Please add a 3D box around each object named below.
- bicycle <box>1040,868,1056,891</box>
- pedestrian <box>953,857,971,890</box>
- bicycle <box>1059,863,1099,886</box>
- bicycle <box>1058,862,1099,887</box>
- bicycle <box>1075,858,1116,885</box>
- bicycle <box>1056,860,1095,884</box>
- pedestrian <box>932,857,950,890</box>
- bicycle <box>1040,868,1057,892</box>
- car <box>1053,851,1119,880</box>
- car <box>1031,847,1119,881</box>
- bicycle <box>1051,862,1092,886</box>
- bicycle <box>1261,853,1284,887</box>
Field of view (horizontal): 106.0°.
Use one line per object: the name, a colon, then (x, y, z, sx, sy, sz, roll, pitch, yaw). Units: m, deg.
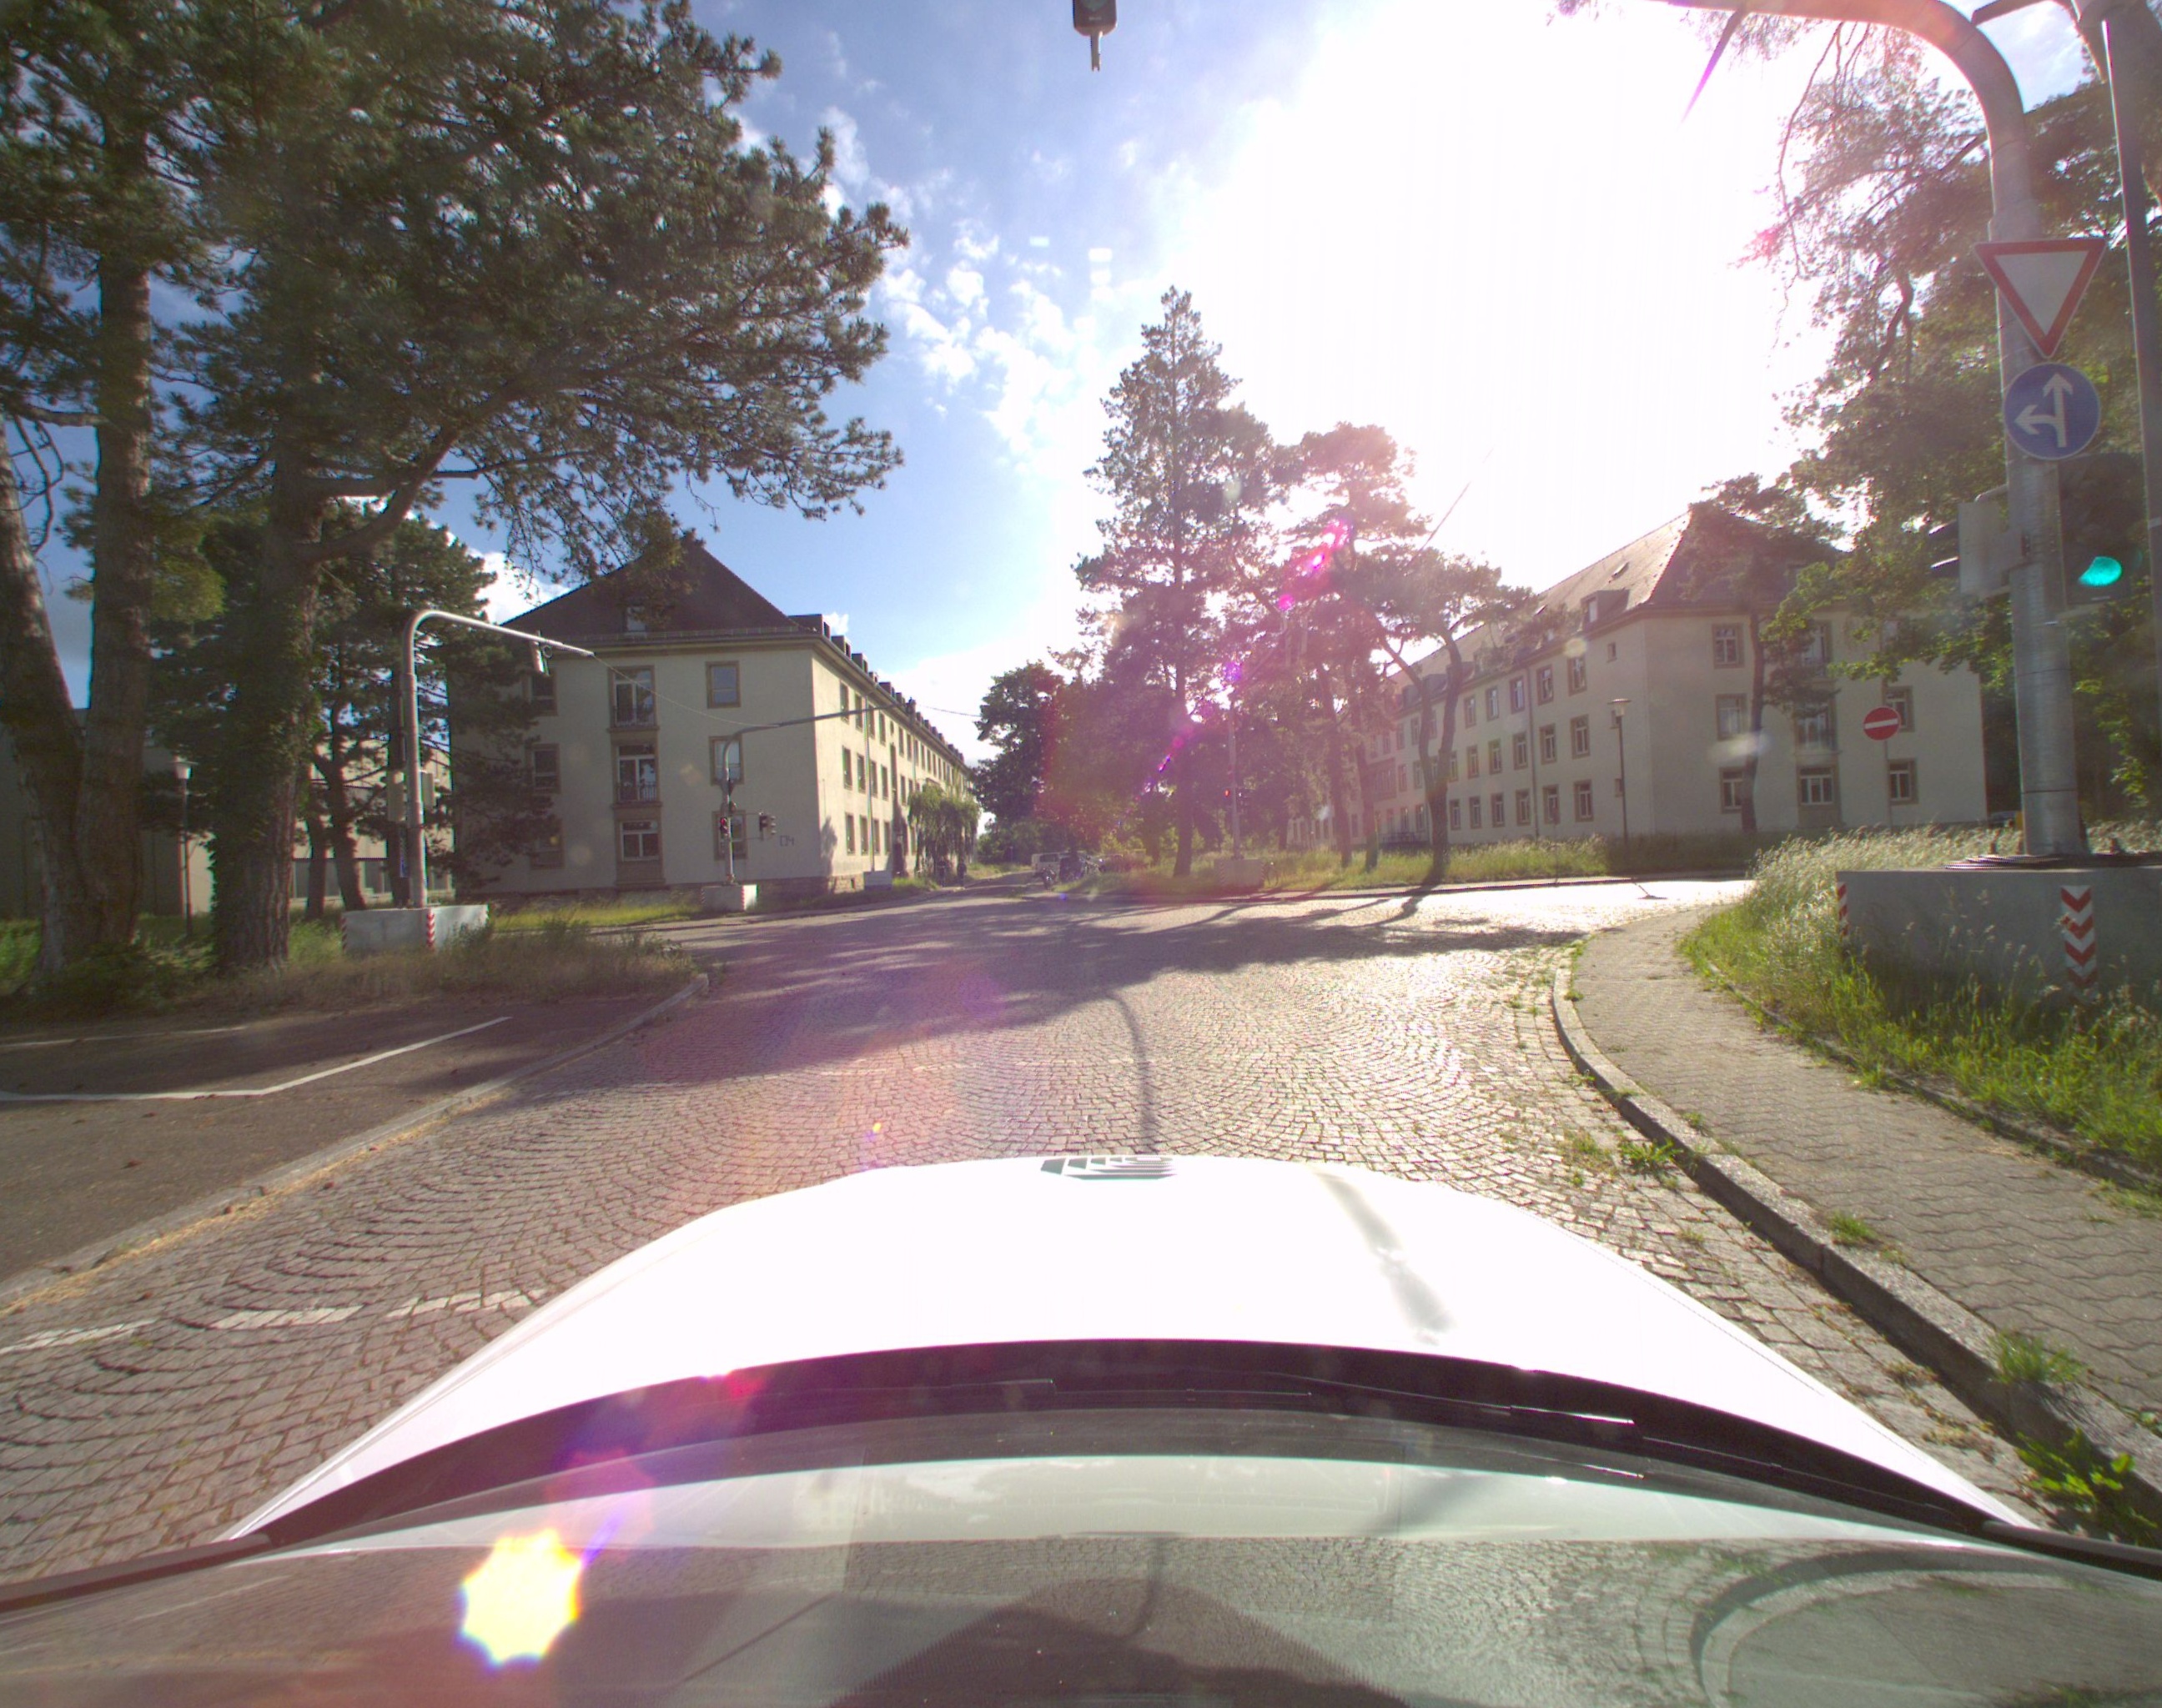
bicycle: (-1.532, 1.159, 37.791, 0.694, 0.971, 1.858, -2, 0, -3)
pedestrian: (-6.803, 1.126, 46.572, 0.762, 1.817, 0.684, -3, 0, 9)
bicycle: (-0.102, 0.976, 39.383, 1.851, 1.031, 0.749, -3, 0, -5)
bicycle: (-0.129, 1.024, 40.178, 1.937, 1.129, 0.749, -3, 0, -5)
bicycle: (0.724, 0.873, 40.904, 1.937, 1.235, 0.484, -3, 0, -5)
bicycle: (-0.276, 0.949, 42.485, 1.939, 1.129, 0.646, -3, 0, -7)
pedestrian: (-7.959, 1.094, 46.306, 0.807, 1.817, 0.556, -3, 0, 9)
bicycle: (-1.436, 1.147, 35.866, 0.694, 0.971, 1.858, -2, 0, -3)
car: (0.312, 0.743, 53.134, 3.986, 1.684, 1.841, -3, 0, -9)
car: (-0.477, 0.683, 57.524, 5.928, 2.013, 2.468, -3, 0, -9)
bicycle: (-0.476, 0.999, 41.383, 1.952, 1.129, 0.642, -3, 0, -28)
bicycle: (6.444, 0.531, 27.448, 0.464, 1.080, 1.174, -3, -1, 2)
